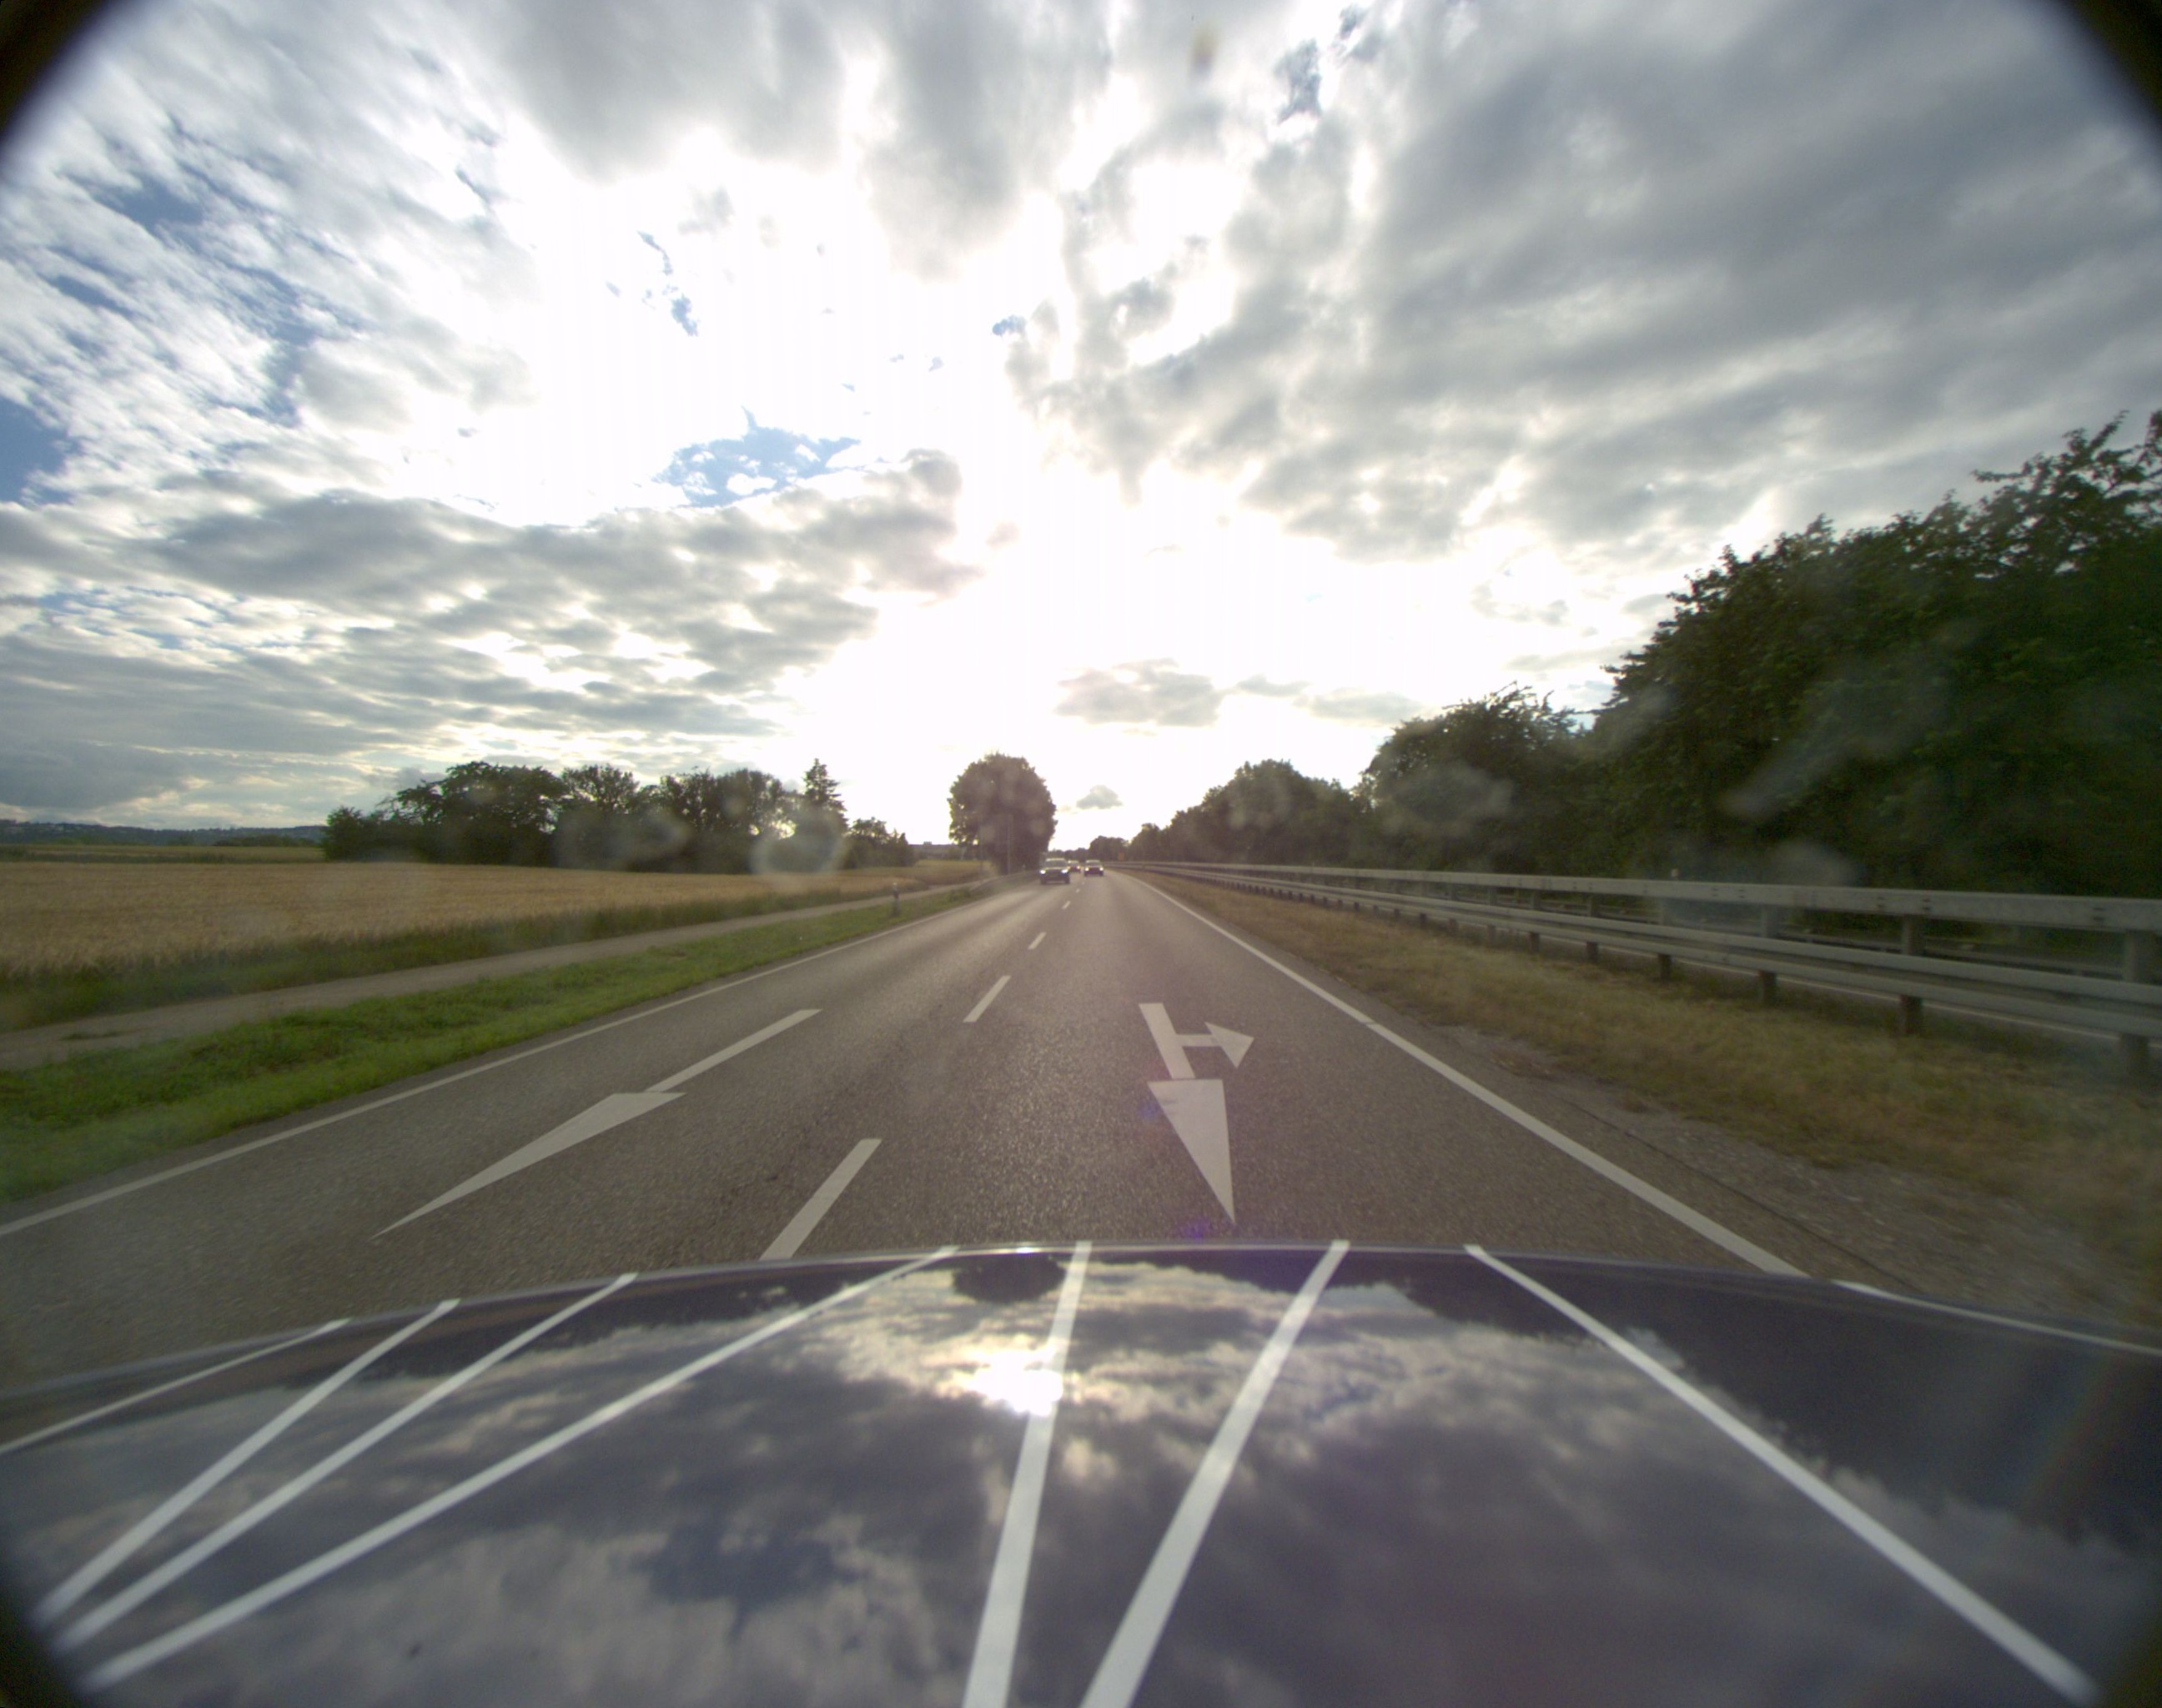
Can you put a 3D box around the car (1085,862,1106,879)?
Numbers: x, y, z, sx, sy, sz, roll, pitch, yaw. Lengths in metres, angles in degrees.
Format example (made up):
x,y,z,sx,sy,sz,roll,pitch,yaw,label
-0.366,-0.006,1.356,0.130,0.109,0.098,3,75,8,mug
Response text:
x,y,z,sx,sy,sz,roll,pitch,yaw,label
1.274,1.493,69.858,1.775,1.389,4.000,-2,0,0,car

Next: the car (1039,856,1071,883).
x,y,z,sx,sy,sz,roll,pitch,yaw,label
-1.689,0.982,50.651,1.863,1.636,4.000,-2,0,1,car

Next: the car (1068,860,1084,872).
x,y,z,sx,sy,sz,roll,pitch,yaw,label
-0.619,1.448,92.075,1.823,1.409,4.000,-2,0,0,car
